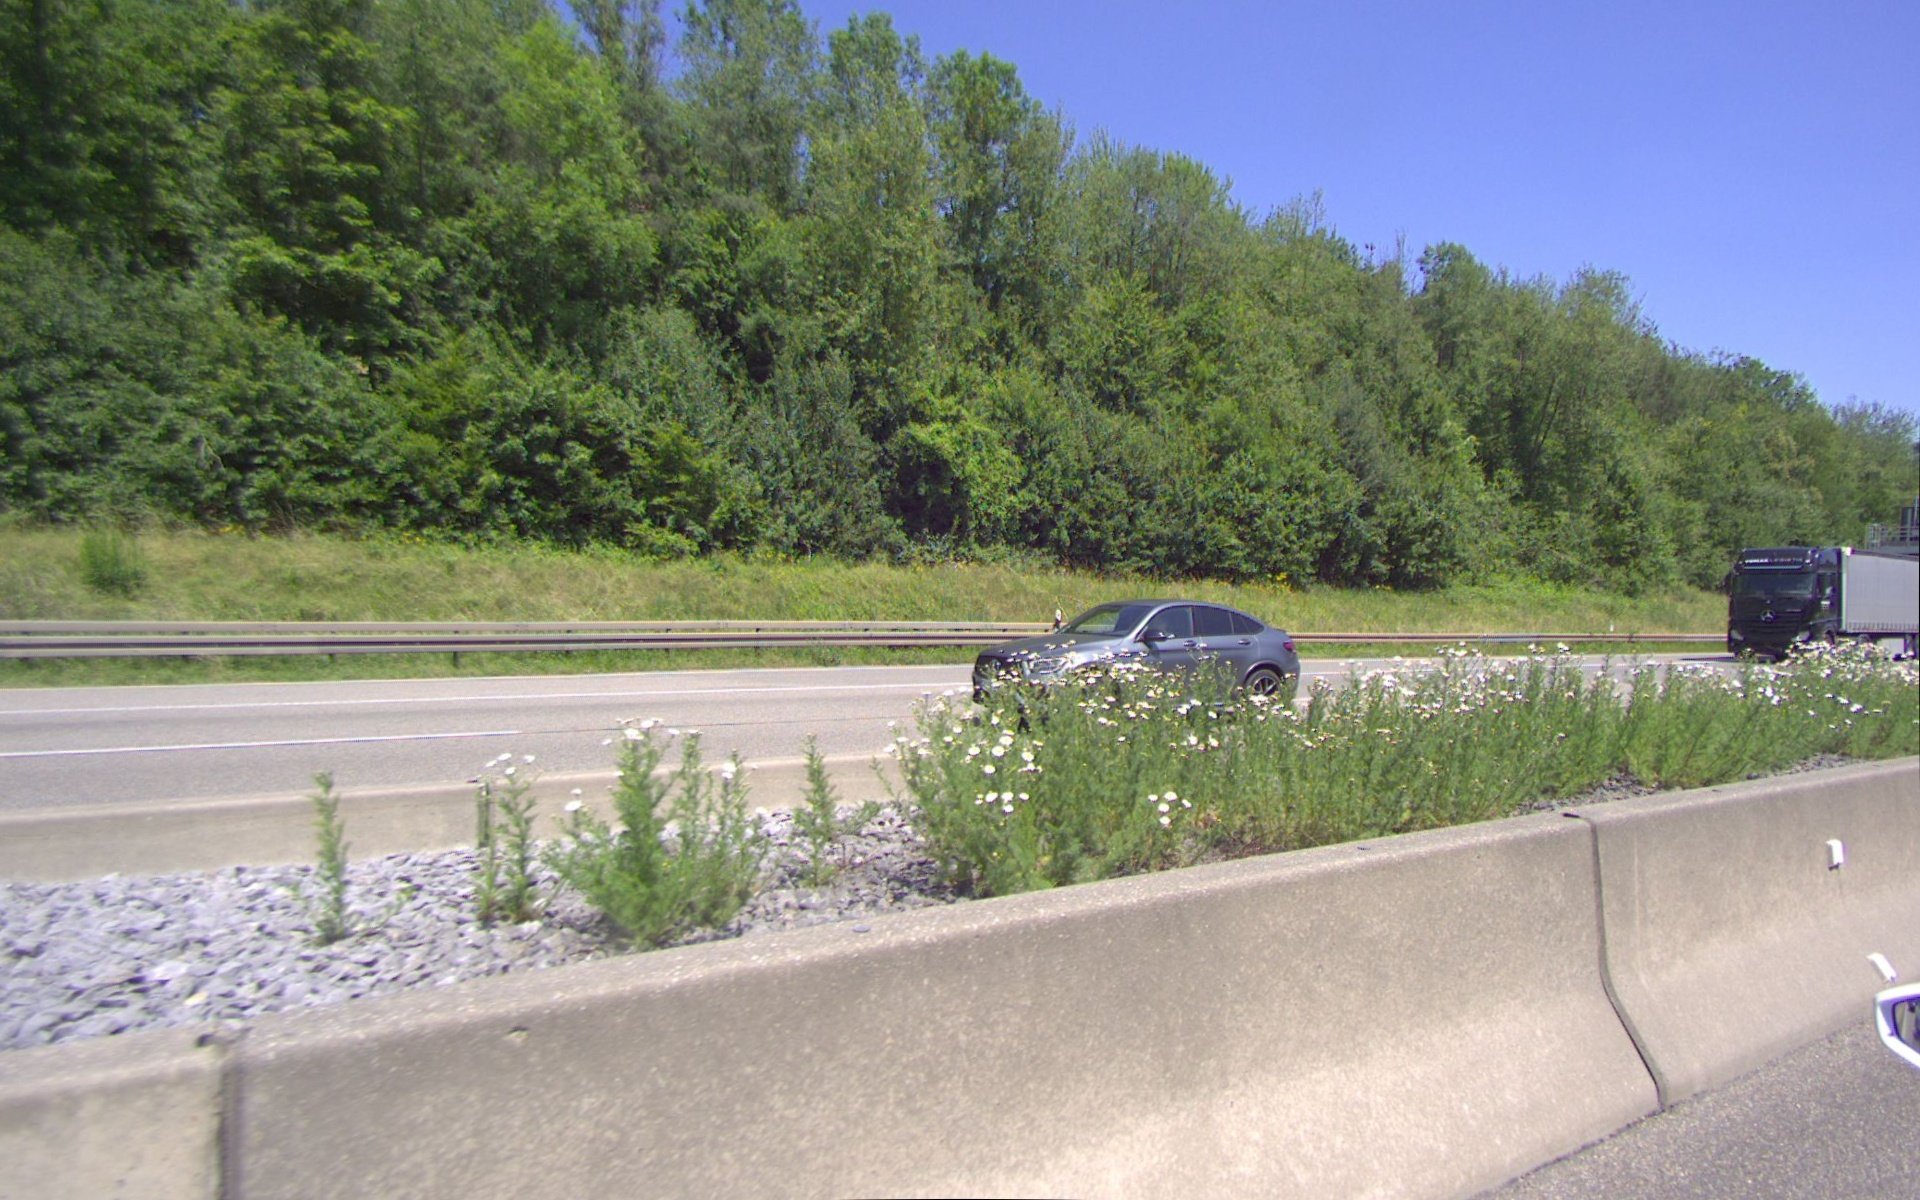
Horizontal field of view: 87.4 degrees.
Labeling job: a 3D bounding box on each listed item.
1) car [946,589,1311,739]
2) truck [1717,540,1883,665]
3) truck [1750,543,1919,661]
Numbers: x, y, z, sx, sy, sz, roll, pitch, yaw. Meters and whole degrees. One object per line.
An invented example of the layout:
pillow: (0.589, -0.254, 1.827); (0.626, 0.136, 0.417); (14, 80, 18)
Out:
car: (2.232, 0.736, 13.024); (4.422, 1.649, 1.984); (1, 0, -30)
truck: (29.413, 0.116, 35.118); (5.942, 3.992, 2.813); (1, 0, -33)
truck: (35.090, 0.164, 38.892); (13.597, 3.991, 2.812); (1, 0, -33)
